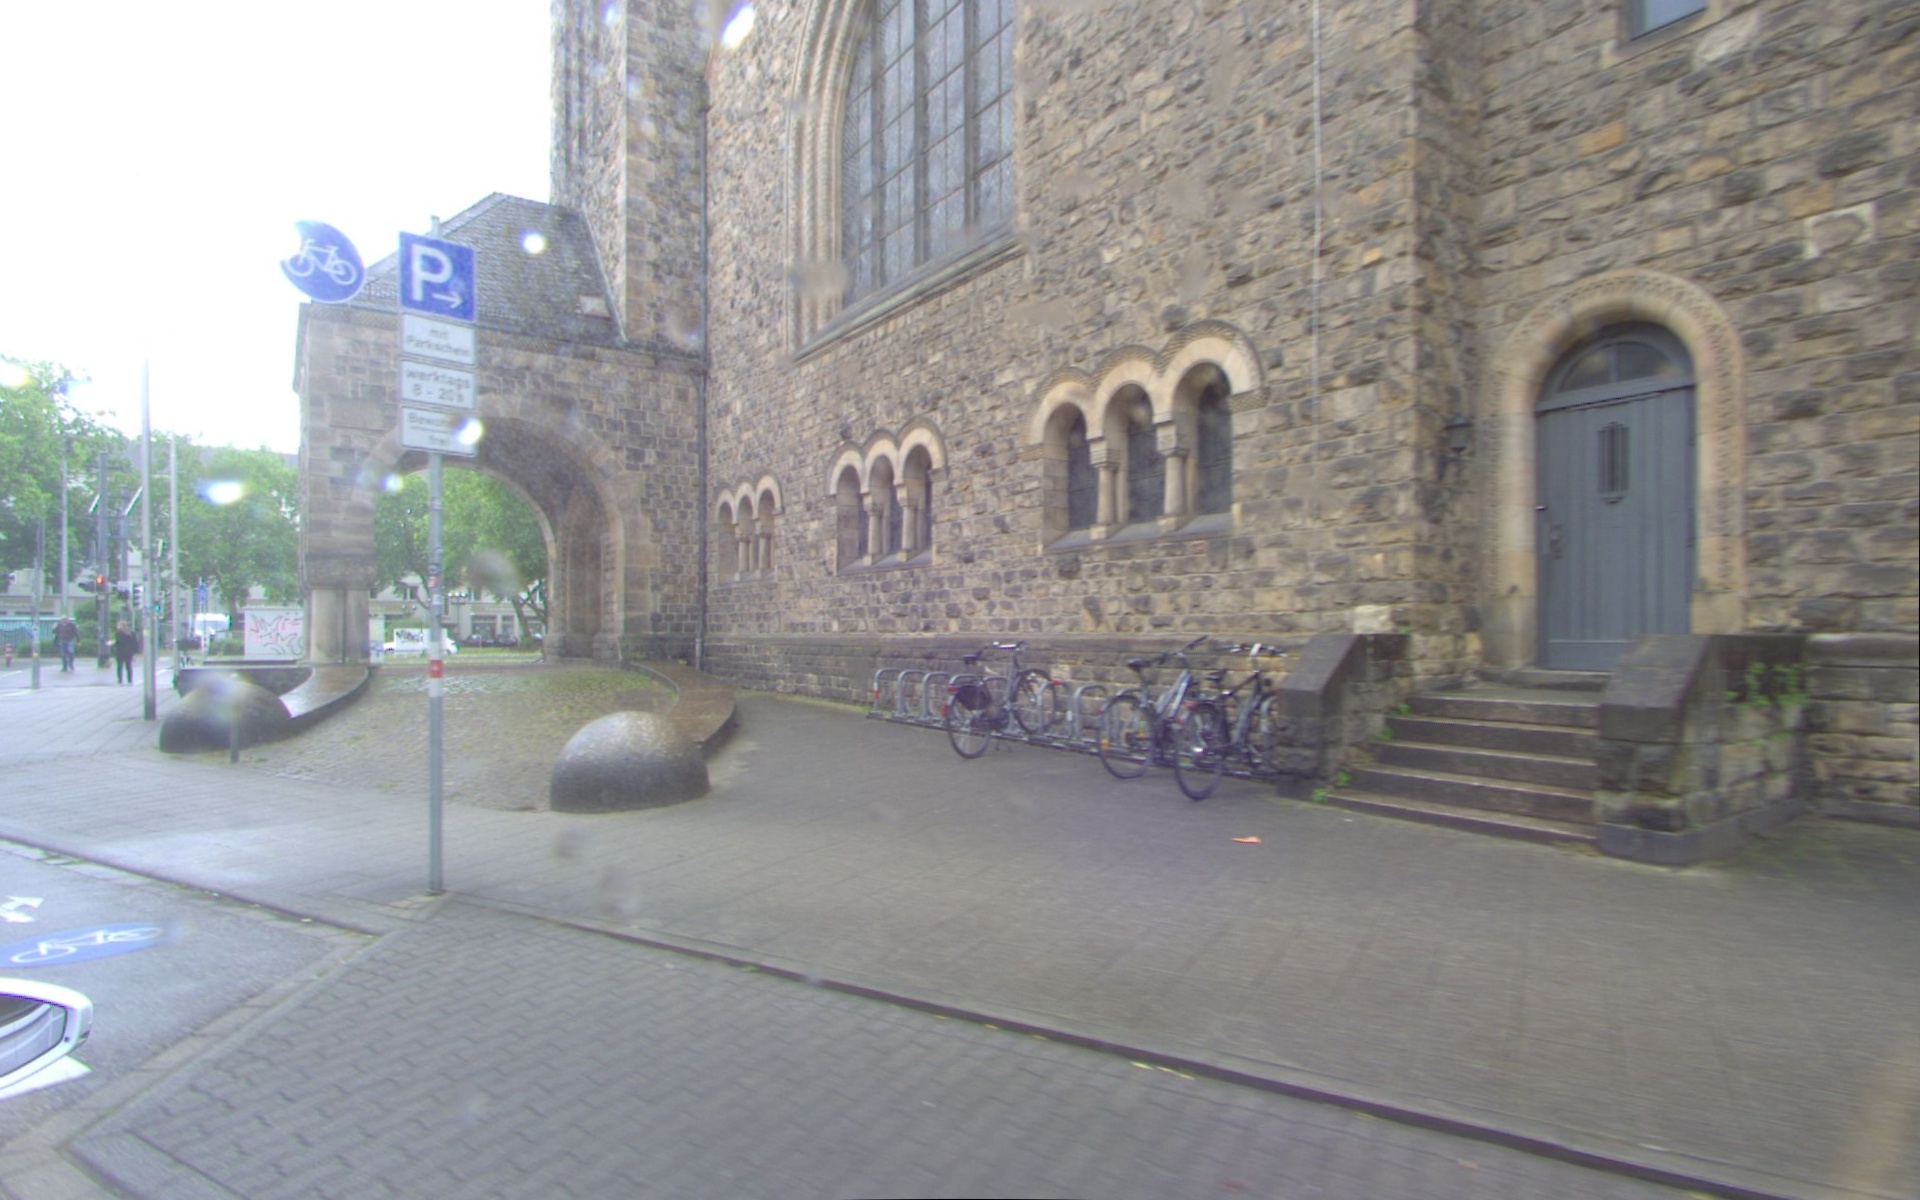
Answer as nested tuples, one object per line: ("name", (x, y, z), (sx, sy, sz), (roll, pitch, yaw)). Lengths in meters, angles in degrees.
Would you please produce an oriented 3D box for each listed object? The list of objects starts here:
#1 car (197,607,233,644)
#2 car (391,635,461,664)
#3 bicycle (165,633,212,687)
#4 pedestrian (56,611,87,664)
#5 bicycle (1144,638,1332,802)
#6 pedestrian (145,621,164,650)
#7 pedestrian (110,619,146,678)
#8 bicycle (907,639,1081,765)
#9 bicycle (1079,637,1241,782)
("car", (-54.442, 1.857, 73.241), (1.888, 2.588, 4.757), (1, -1, -34))
("car", (-30.037, 2.770, 56.336), (3.401, 1.572, 1.584), (1, -1, -33))
("bicycle", (-17.464, 1.327, 22.659), (2.049, 1.169, 0.327), (-1, -1, 38))
("pedestrian", (-30.358, 1.273, 34.210), (0.780, 1.782, 0.936), (0, 0, -43))
("bicycle", (2.252, 0.880, 7.934), (1.971, 1.068, 0.507), (-1, 0, -45))
("pedestrian", (-44.507, 1.945, 55.352), (0.666, 1.573, 0.758), (1, -2, -30))
("pedestrian", (-24.198, 1.397, 29.129), (0.776, 1.667, 0.650), (0, 0, -38))
("bicycle", (0.400, 1.010, 10.490), (0.684, 1.119, 1.973), (-1, 0, 43))
("bicycle", (1.830, 0.926, 9.008), (1.697, 1.126, 0.556), (-1, 0, -44))
